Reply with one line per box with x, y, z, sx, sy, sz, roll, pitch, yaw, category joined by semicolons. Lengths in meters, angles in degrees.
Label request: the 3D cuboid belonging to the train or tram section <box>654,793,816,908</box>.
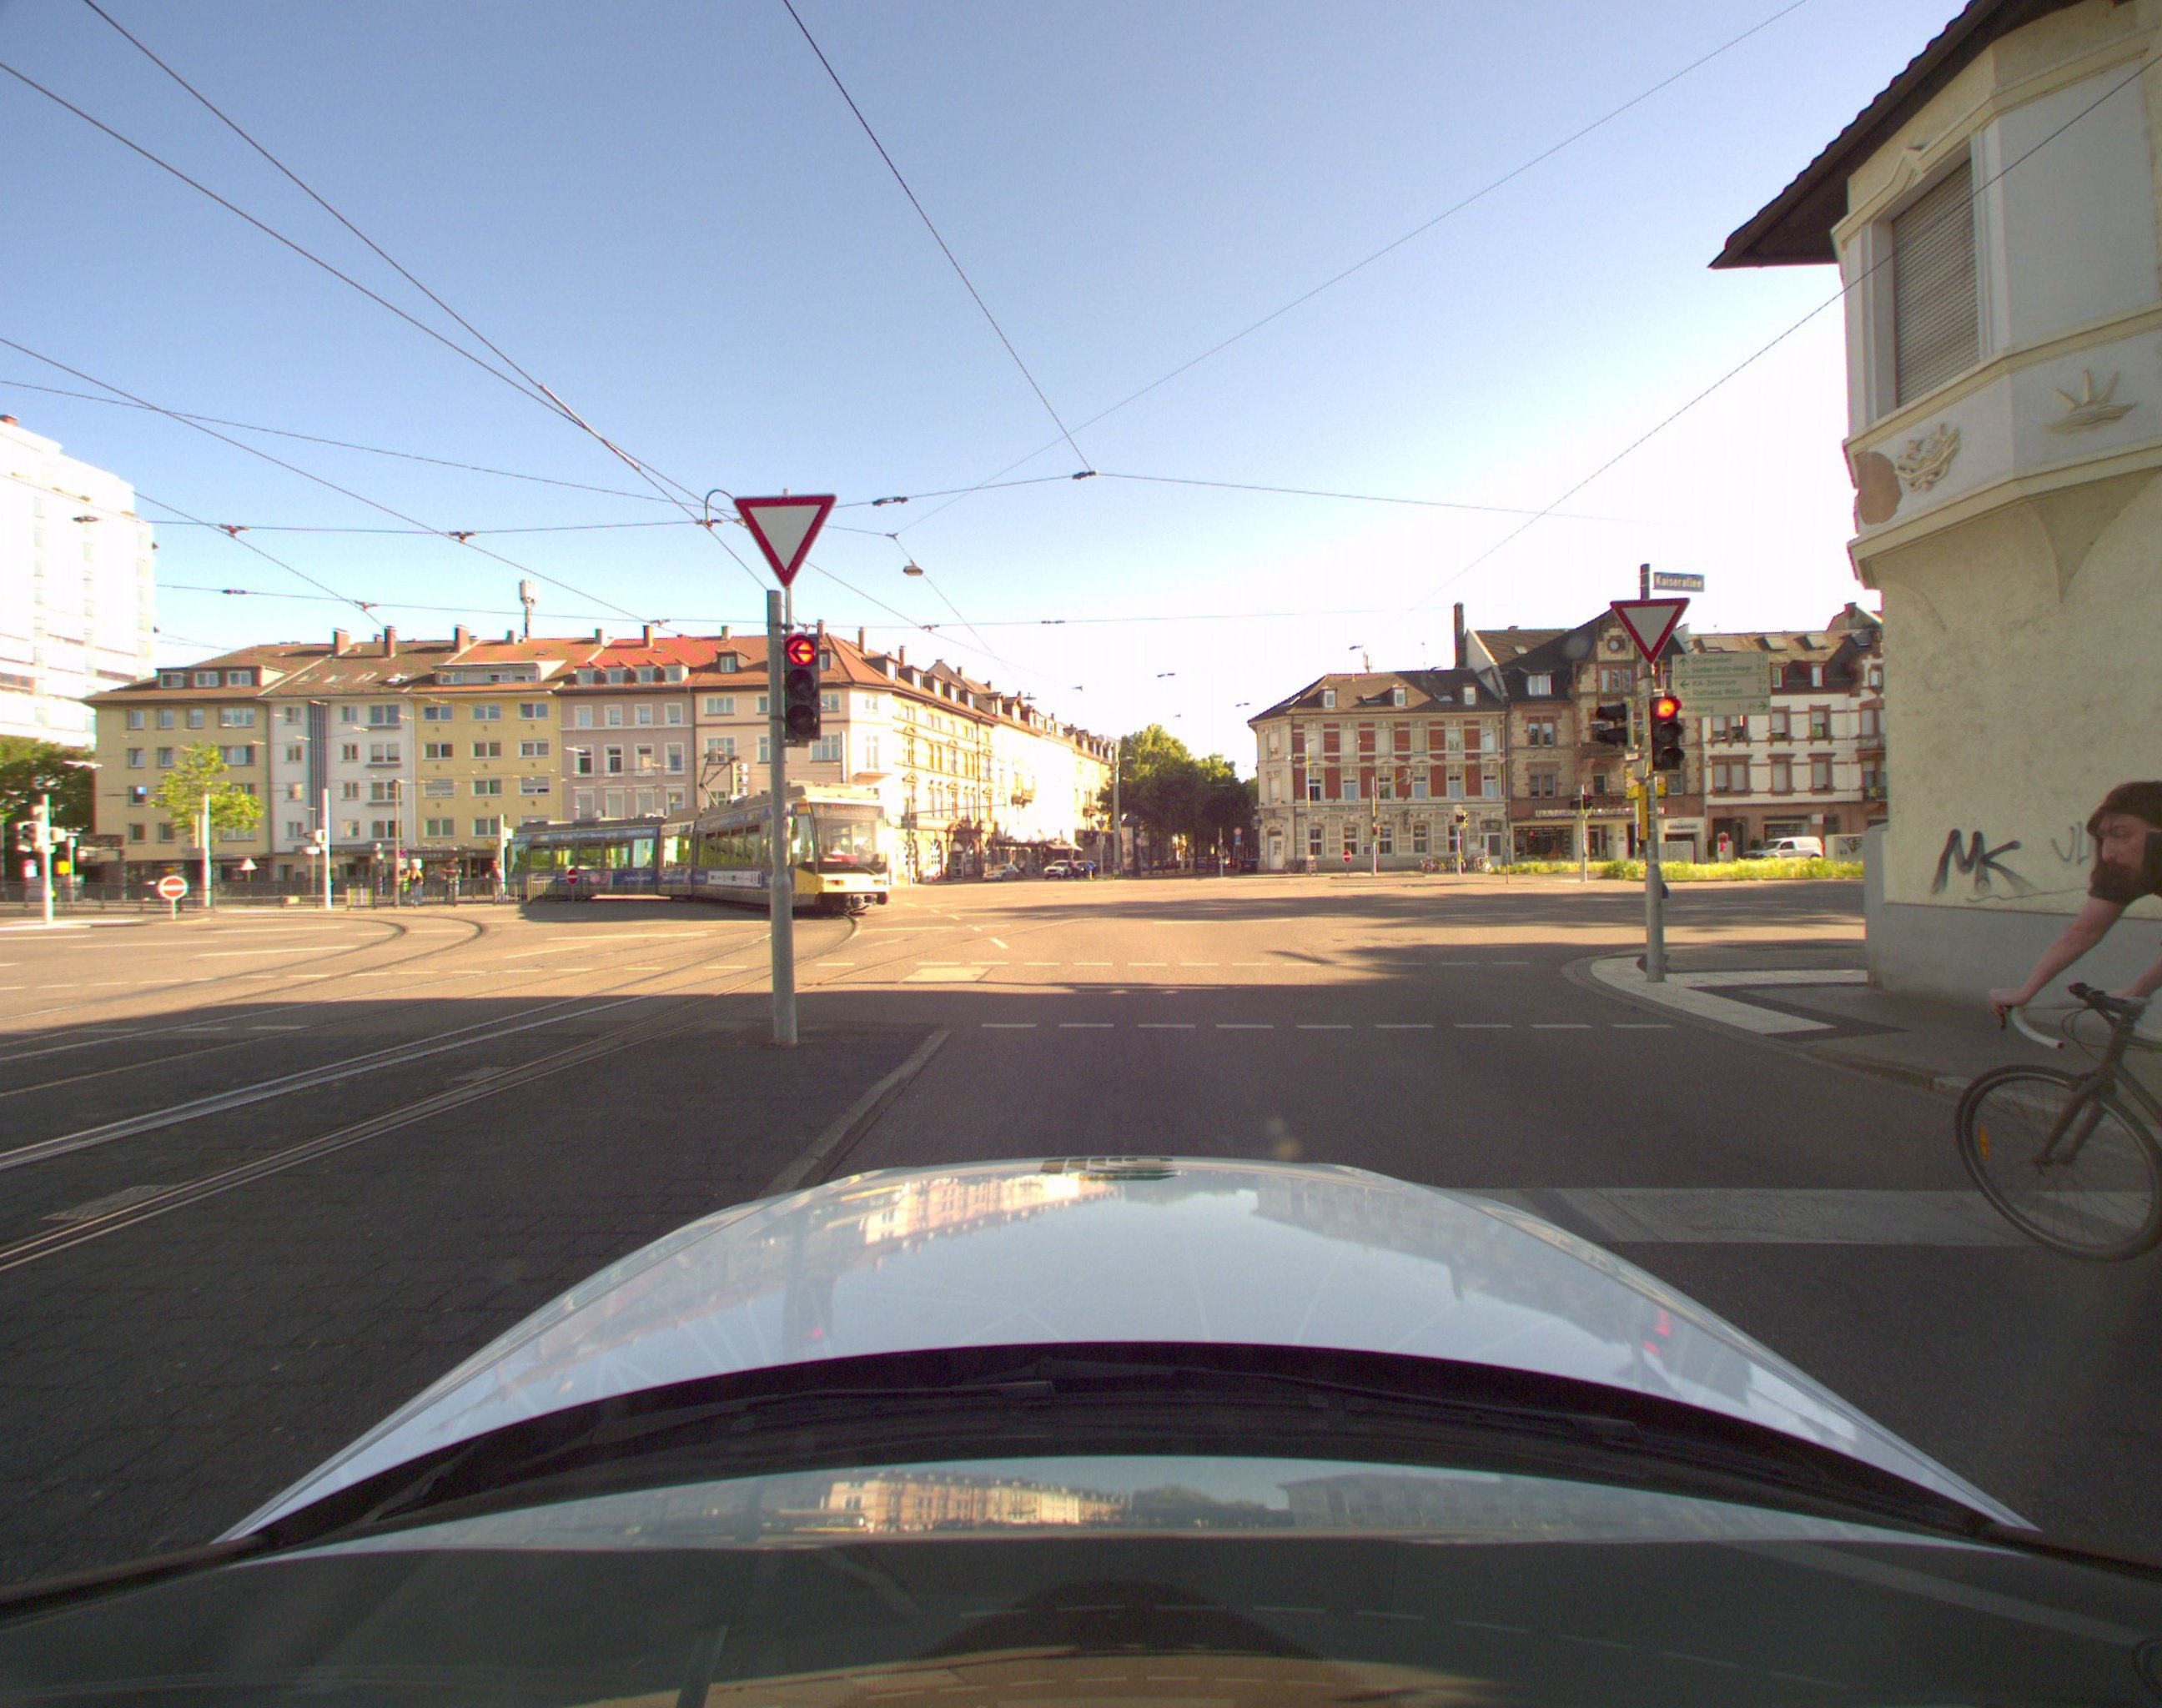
-12.500;-0.074;28.864;2.839;3.500;8.361;-1;0;-41;train or tram section

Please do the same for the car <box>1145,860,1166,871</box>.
11.259;1.734;122.592;1.977;1.612;4.413;-2;0;20;car

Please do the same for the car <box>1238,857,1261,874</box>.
17.016;1.145;82.207;1.978;1.585;4.017;-2;0;16;car

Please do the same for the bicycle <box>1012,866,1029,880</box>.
-4.818;1.513;65.289;0.675;1.066;2.133;-2;0;14;bicycle

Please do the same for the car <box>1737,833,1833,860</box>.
45.356;-0.472;52.543;4.317;1.640;2.152;-2;0;1;car

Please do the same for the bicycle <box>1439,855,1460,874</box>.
23.855;0.678;52.776;0.615;1.143;2.178;-2;0;7;bicycle

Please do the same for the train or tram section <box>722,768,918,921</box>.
-7.517;-0.198;22.581;2.836;3.500;7.875;-1;0;-36;train or tram section

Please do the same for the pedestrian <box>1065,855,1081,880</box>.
-0.561;0.975;58.155;1.044;1.744;0.808;-1;0;-3;pedestrian

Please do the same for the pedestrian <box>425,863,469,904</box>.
-25.308;1.181;32.511;0.998;1.598;0.946;-2;0;18;pedestrian

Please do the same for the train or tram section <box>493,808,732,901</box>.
-20.065;0.122;34.490;11.877;3.500;2.796;-1;0;28;train or tram section

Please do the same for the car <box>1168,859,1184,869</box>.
15.836;1.724;136.159;1.750;1.549;4.411;-2;0;18;car

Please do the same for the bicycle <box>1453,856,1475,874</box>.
24.776;0.716;52.680;0.615;1.143;2.178;-2;0;7;bicycle

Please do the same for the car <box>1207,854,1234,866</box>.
22.837;0.975;133.294;3.948;1.706;2.013;-2;0;32;car

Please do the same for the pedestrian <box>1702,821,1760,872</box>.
27.109;-0.300;33.990;1.314;2.044;1.307;-2;0;1;pedestrian

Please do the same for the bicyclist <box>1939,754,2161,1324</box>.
3.592;0.565;2.586;0.559;1.754;1.102;-2;0;4;bicyclist

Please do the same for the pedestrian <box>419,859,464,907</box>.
-24.414;1.076;31.113;0.939;1.775;1.006;-1;0;-11;pedestrian

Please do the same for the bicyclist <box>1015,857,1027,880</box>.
-4.814;1.133;65.332;0.674;1.820;1.075;-2;0;14;bicyclist

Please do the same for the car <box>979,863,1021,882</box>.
-6.684;1.523;67.375;1.883;1.455;4.020;-2;0;20;car

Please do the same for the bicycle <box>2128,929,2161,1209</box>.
4.527;0.862;2.438;0.516;1.116;1.815;-2;0;4;bicycle

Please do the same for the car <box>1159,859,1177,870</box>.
13.918;1.704;130.324;1.822;1.552;4.412;-2;0;19;car

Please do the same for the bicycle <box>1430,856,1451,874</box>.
23.276;0.697;52.828;0.615;1.143;2.178;-2;0;7;bicycle

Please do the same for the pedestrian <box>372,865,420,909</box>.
-26.022;1.251;30.933;0.931;1.598;1.014;-1;0;16;pedestrian

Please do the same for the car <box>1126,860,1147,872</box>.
7.537;1.671;110.973;1.978;1.486;4.017;-1;0;16;car

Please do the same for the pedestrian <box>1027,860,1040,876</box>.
-4.842;1.427;82.937;0.921;1.535;1.142;-1;0;16;pedestrian

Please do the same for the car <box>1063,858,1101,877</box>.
0.117;1.220;74.009;1.977;1.612;4.413;-2;0;20;car

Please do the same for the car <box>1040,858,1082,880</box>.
-1.609;1.253;67.532;1.977;1.684;4.413;-2;0;20;car

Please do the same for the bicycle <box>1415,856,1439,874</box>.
22.498;0.707;52.977;0.802;1.143;2.178;-2;0;7;bicycle

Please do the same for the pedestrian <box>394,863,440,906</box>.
-25.872;1.175;31.749;0.933;1.598;1.012;-2;0;9;pedestrian

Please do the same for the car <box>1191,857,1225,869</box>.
17.939;1.315;115.155;4.335;1.612;2.012;-2;0;28;car

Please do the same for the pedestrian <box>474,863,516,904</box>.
-23.244;1.164;32.300;0.997;1.598;0.947;-2;0;23;pedestrian

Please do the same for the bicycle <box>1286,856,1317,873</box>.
15.498;0.728;57.181;2.081;1.124;0.366;0;-1;-3;bicycle

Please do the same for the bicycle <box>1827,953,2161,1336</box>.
3.607;0.952;2.663;0.642;1.010;1.930;-2;0;4;bicycle

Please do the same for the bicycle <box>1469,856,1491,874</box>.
25.753;0.695;52.590;0.606;1.136;2.139;-2;0;7;bicycle
